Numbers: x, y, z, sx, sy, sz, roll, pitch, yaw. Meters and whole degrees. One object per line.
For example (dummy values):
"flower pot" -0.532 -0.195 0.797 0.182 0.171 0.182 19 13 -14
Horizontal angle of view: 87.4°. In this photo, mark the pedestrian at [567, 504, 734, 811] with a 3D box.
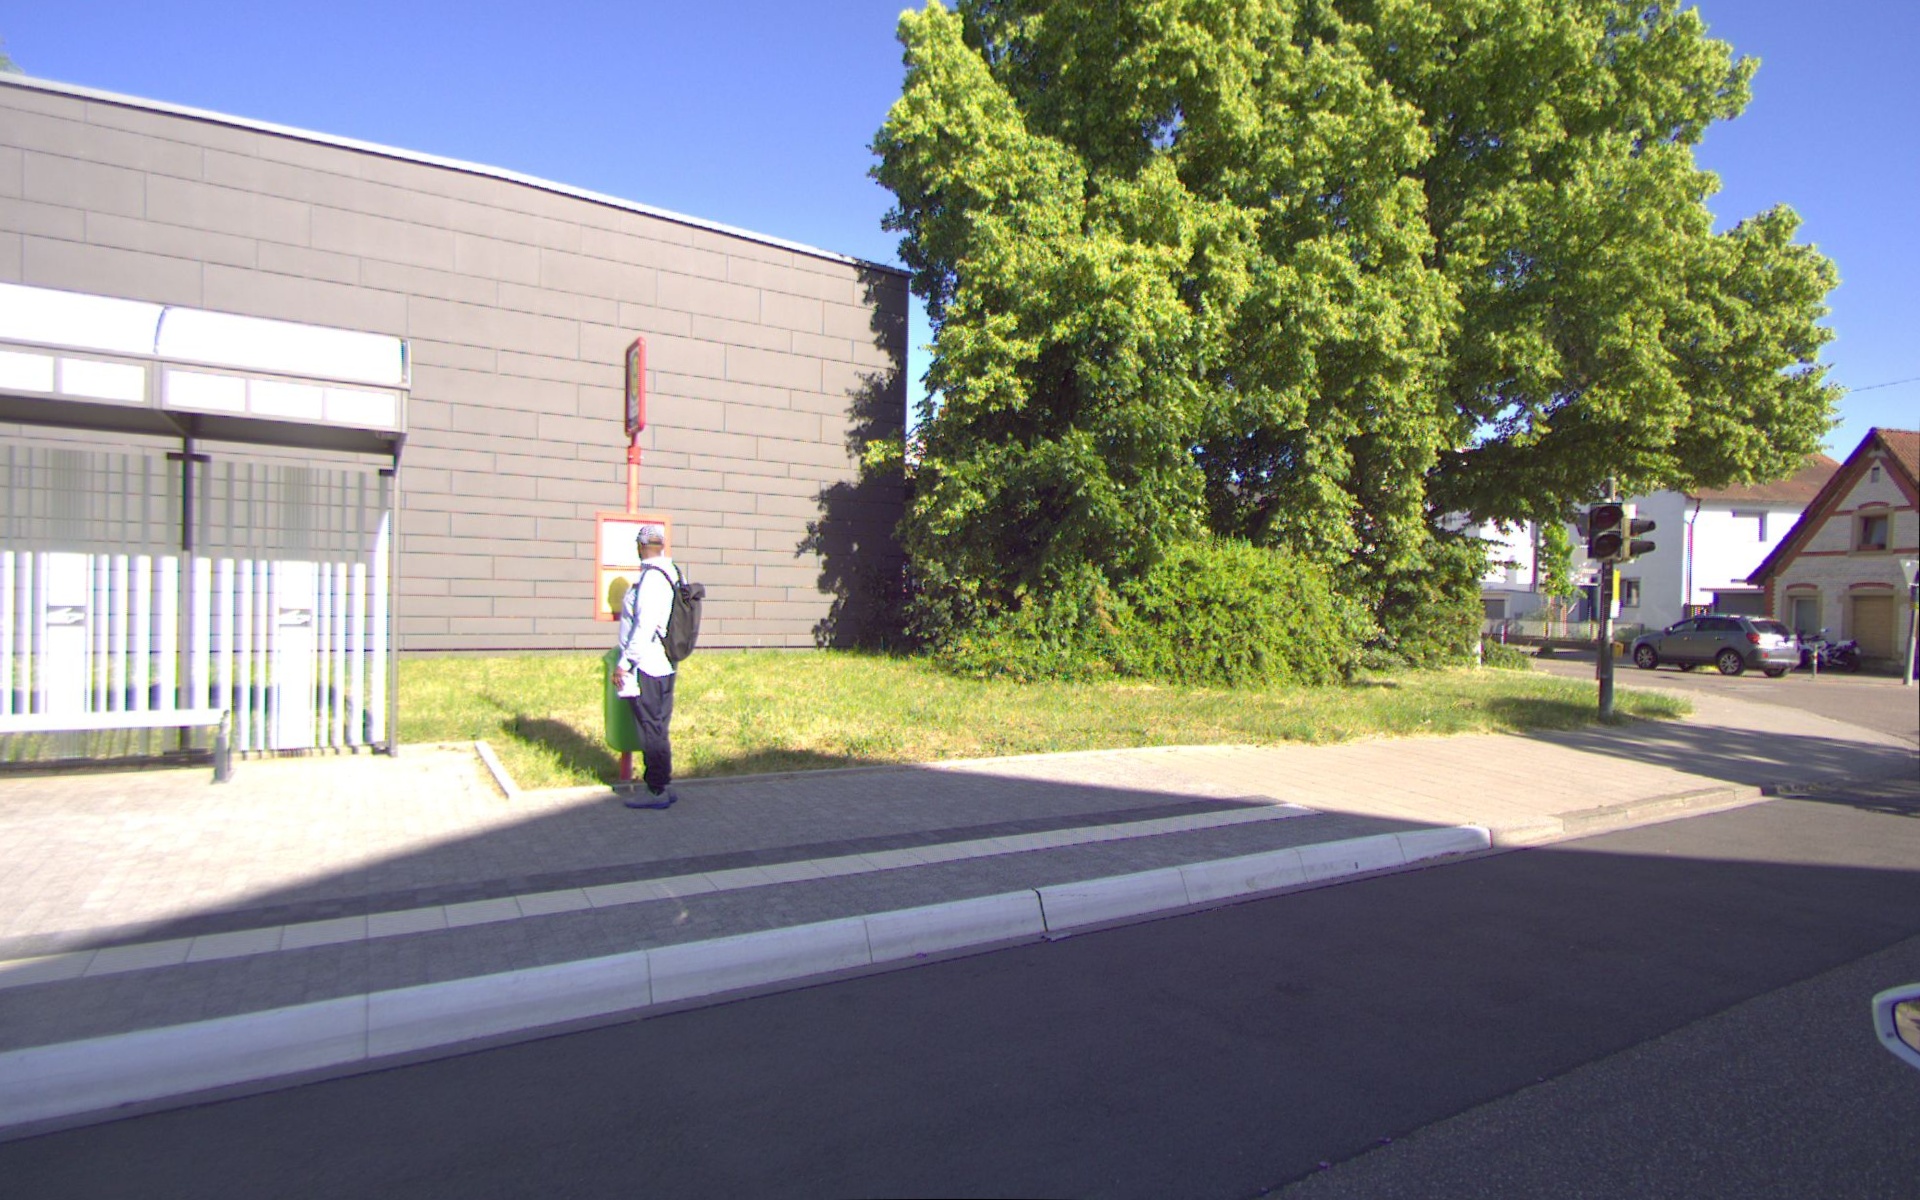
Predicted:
"pedestrian" -1.963 0.334 6.434 0.755 1.827 0.718 2 3 8

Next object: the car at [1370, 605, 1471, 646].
"car" 20.314 1.105 44.515 1.912 1.570 4.224 2 1 -12

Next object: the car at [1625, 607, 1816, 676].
"car" 22.304 1.158 29.690 1.912 1.748 4.223 2 1 -13

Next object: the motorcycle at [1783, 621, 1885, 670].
"motorcycle" 26.042 1.332 29.975 0.867 1.313 2.245 -1 0 -11
